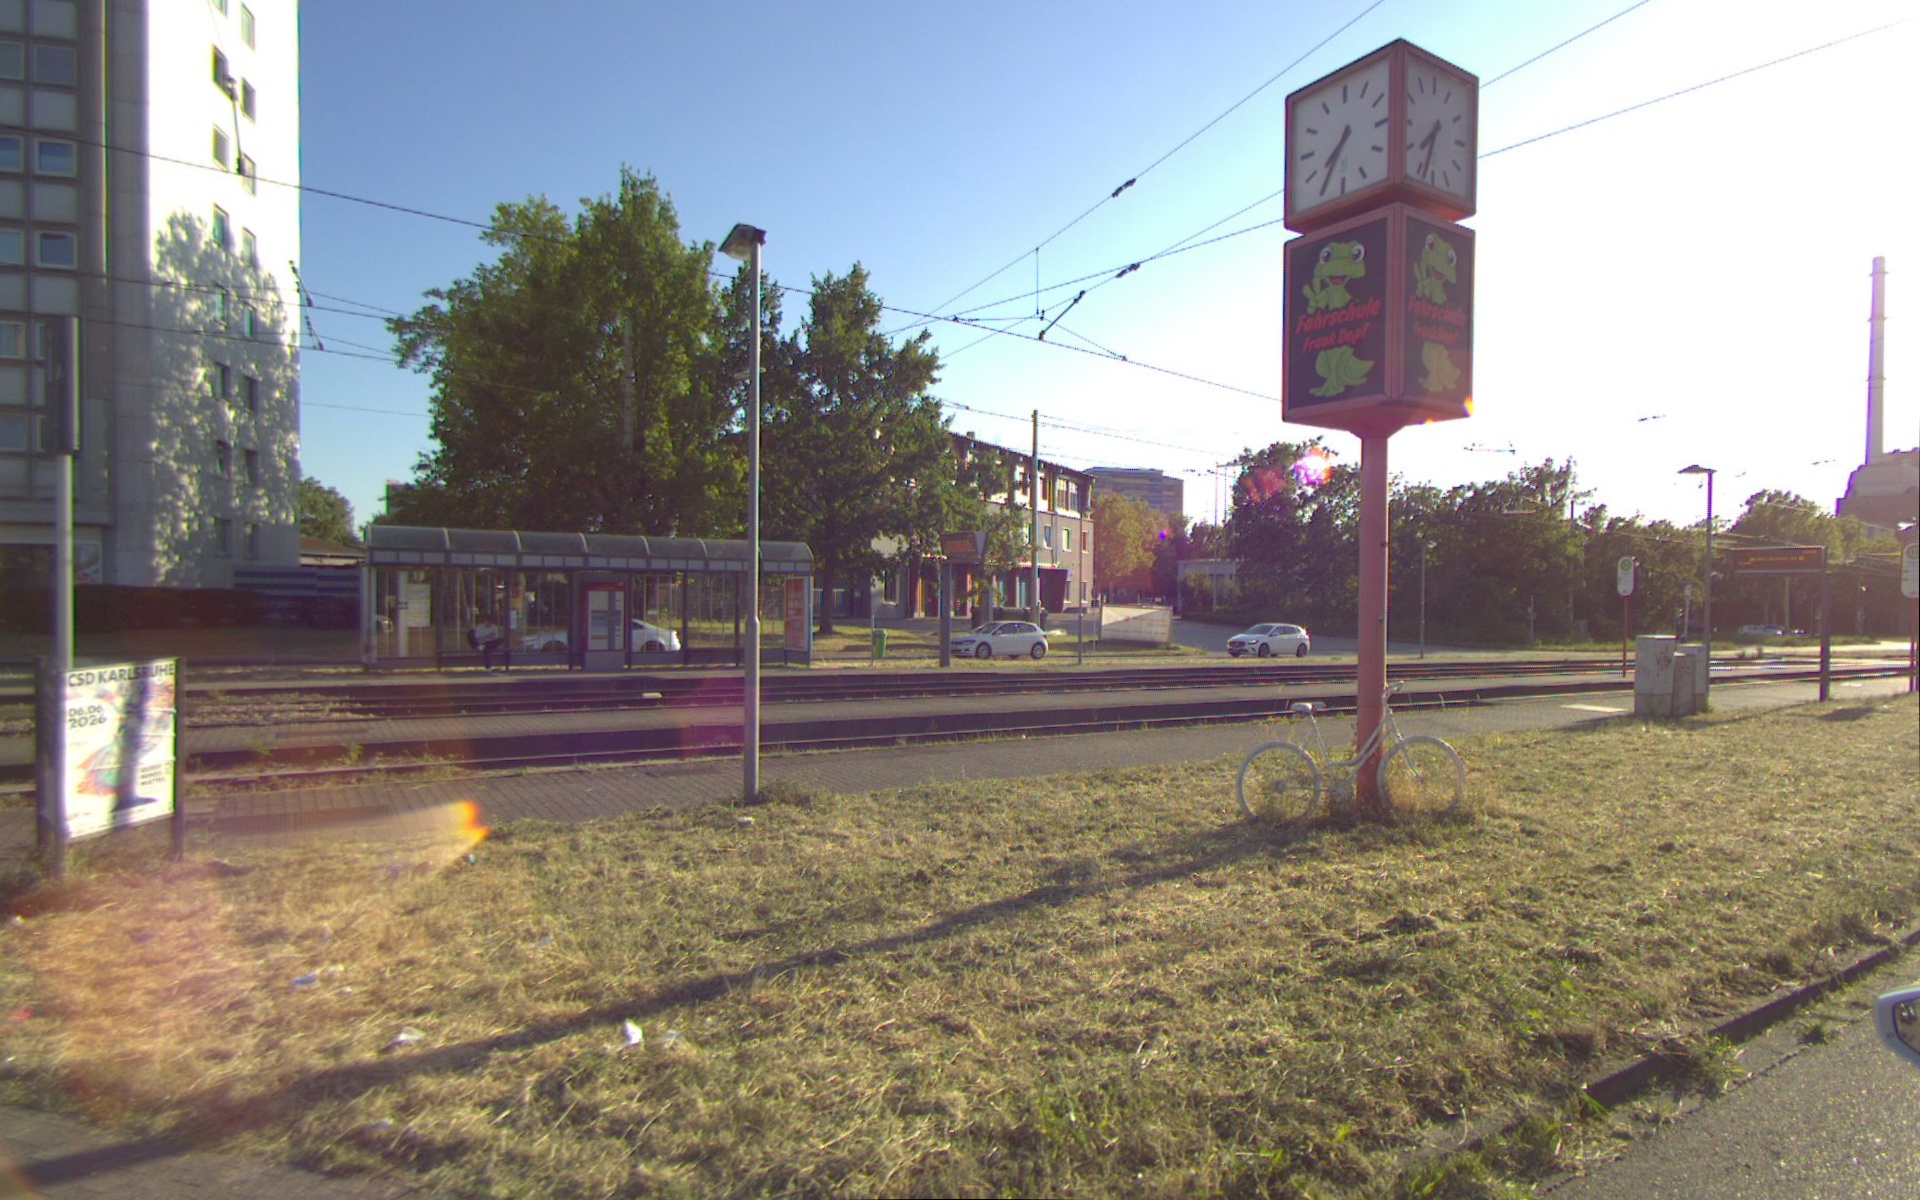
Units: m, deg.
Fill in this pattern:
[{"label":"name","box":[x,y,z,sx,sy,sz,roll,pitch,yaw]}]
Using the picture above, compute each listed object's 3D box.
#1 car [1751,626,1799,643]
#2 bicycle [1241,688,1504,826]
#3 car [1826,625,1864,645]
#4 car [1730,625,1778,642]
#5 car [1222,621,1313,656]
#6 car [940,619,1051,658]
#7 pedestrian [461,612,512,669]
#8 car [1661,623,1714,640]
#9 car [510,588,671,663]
[{"label":"car","box":[92.431,3.929,113.961,3.928,1.773,1.997,0,-1,29]},{"label":"bicycle","box":[2.985,1.132,7.349,1.709,0.930,0.555,1,-2,-3]},{"label":"car","box":[91.011,3.599,103.243,3.958,2.040,1.981,2,-1,-34]},{"label":"car","box":[88.727,3.762,112.345,3.928,1.773,1.997,0,-1,29]},{"label":"car","box":[14.256,1.770,46.461,4.346,1.552,1.646,2,-1,-34]},{"label":"car","box":[1.354,1.443,37.951,3.925,1.385,1.790,1,-1,-34]},{"label":"pedestrian","box":[-10.326,0.882,21.905,0.912,1.204,0.839,1,-1,-32]},{"label":"car","box":[82.346,3.519,113.770,4.704,1.868,1.997,0,-1,30]},{"label":"car","box":[-10.727,0.734,29.225,4.113,2.040,1.983,1,-1,-31]}]
